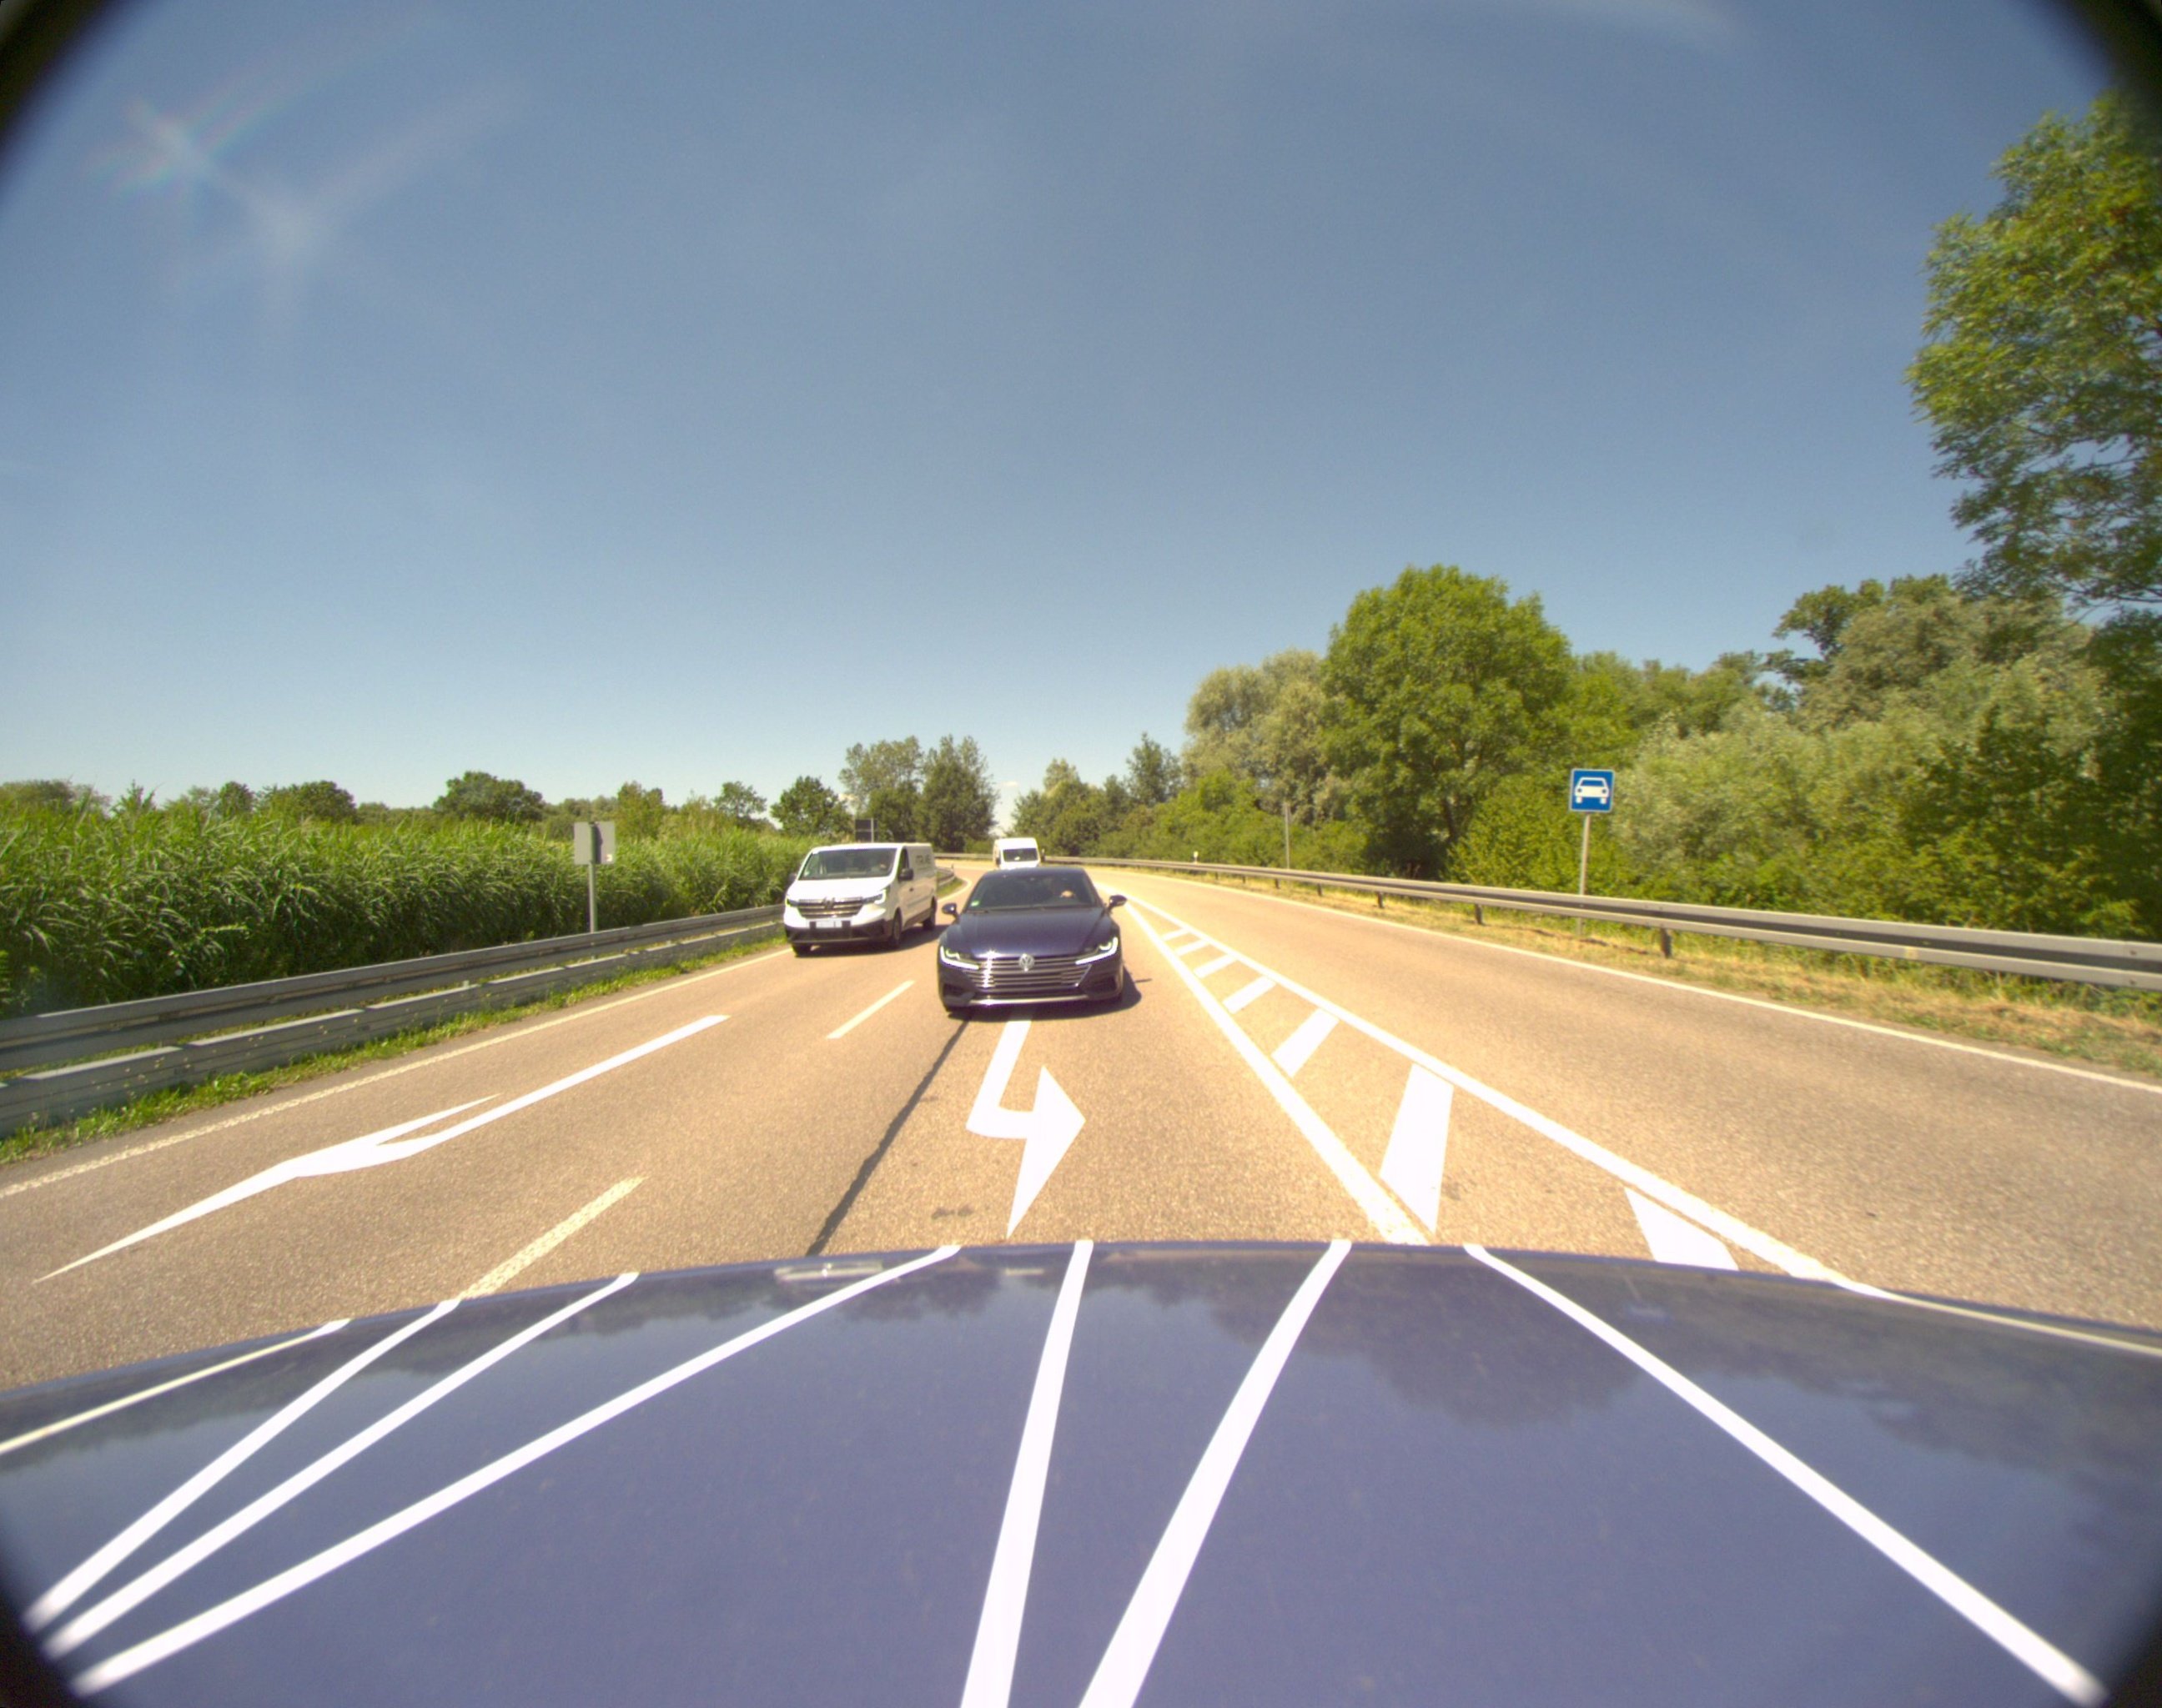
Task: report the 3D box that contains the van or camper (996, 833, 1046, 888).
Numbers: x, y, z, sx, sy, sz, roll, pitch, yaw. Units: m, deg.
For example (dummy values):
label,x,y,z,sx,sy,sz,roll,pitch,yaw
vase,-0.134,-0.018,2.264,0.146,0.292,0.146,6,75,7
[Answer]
label,x,y,z,sx,sy,sz,roll,pitch,yaw
van or camper,-3.204,0.322,39.373,2.075,2.540,6.042,-2,0,-9

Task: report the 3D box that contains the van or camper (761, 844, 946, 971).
label,x,y,z,sx,sy,sz,roll,pitch,yaw
van or camper,-4.212,0.863,15.195,2.009,2.020,5.447,-2,1,0

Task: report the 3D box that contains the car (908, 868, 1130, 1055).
label,x,y,z,sx,sy,sz,roll,pitch,yaw
car,-0.509,0.963,8.767,1.843,1.422,4.533,-2,0,1
